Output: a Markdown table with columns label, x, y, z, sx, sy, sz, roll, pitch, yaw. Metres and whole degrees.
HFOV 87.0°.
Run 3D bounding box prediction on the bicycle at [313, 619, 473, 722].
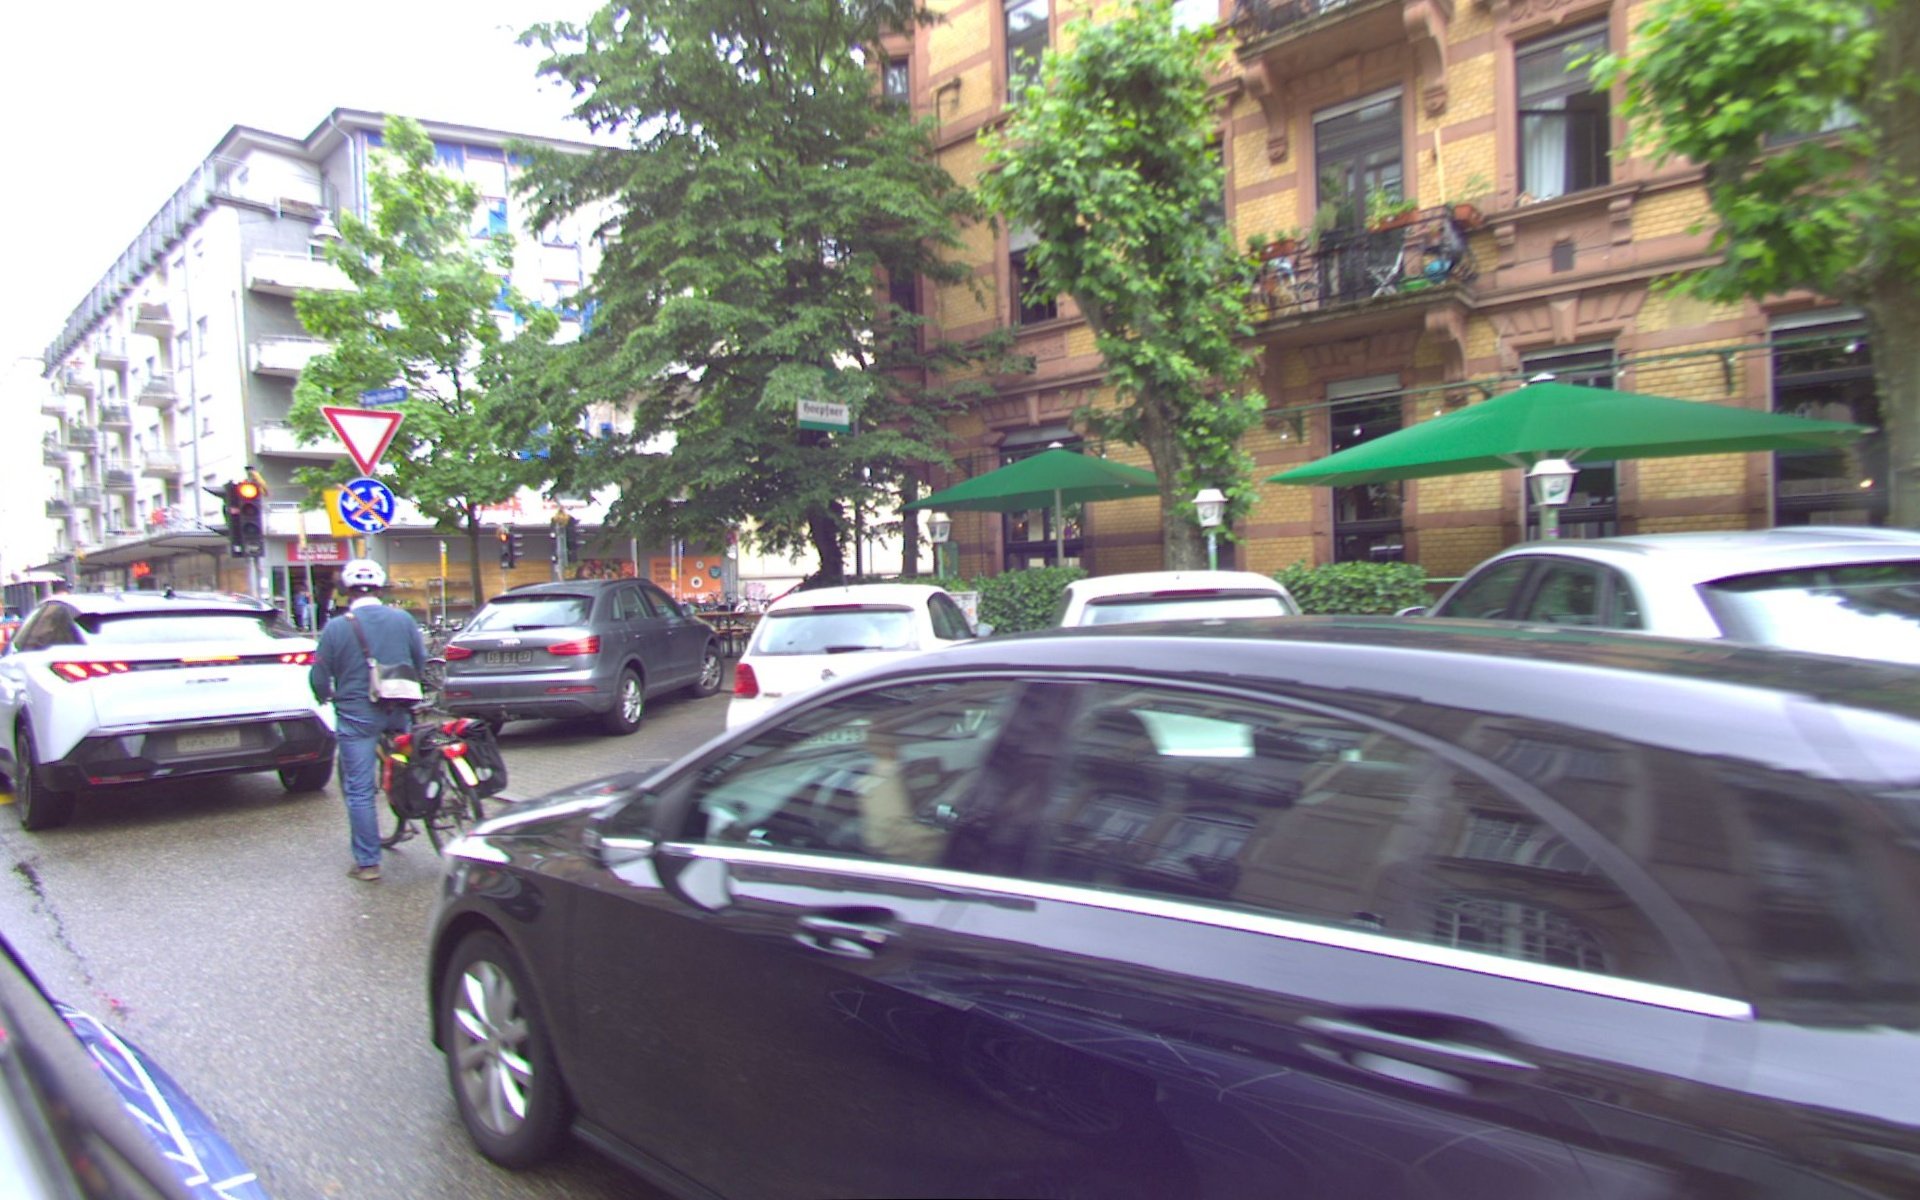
| label | x | y | z | sx | sy | sz | roll | pitch | yaw |
| --- | --- | --- | --- | --- | --- | --- | --- | --- | --- |
| bicycle | -6.747 | 0.840 | 12.063 | 1.665 | 1.152 | 0.585 | -2 | 2 | 13 |

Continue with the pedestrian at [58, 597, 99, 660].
| label | x | y | z | sx | sy | sz | roll | pitch | yaw |
| --- | --- | --- | --- | --- | --- | --- | --- | --- | --- |
| pedestrian | -27.767 | 0.880 | 31.893 | 0.707 | 1.911 | 0.606 | -2 | 2 | -14 |

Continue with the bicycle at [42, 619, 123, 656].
| label | x | y | z | sx | sy | sz | roll | pitch | yaw |
| --- | --- | --- | --- | --- | --- | --- | --- | --- | --- |
| bicycle | -29.508 | 1.258 | 34.059 | 0.658 | 1.041 | 1.879 | -3 | 3 | 26 |

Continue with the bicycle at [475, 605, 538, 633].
| label | x | y | z | sx | sy | sz | roll | pitch | yaw |
| --- | --- | --- | --- | --- | --- | --- | --- | --- | --- |
| bicycle | -15.984 | 0.663 | 35.687 | 1.977 | 0.978 | 0.588 | 0 | 1 | 6 |

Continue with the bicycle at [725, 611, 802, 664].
| label | x | y | z | sx | sy | sz | roll | pitch | yaw |
| --- | --- | --- | --- | --- | --- | --- | --- | --- | --- |
| bicycle | -3.364 | 0.629 | 17.403 | 0.405 | 0.821 | 1.378 | -2 | 1 | 36 |

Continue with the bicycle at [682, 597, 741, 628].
| label | x | y | z | sx | sy | sz | roll | pitch | yaw |
| --- | --- | --- | --- | --- | --- | --- | --- | --- | --- |
| bicycle | -9.027 | 0.447 | 36.847 | 1.968 | 0.978 | 0.591 | -3 | 3 | -33 |

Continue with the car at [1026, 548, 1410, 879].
| label | x | y | z | sx | sy | sz | roll | pitch | yaw |
| --- | --- | --- | --- | --- | --- | --- | --- | --- | --- |
| car | 1.406 | 0.454 | 6.888 | 1.779 | 1.504 | 4.133 | -1 | 4 | 5 |

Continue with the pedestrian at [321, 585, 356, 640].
| label | x | y | z | sx | sy | sz | roll | pitch | yaw |
| --- | --- | --- | --- | --- | --- | --- | --- | --- | --- |
| pedestrian | -21.721 | 0.419 | 35.392 | 0.682 | 1.777 | 0.867 | -2 | 9 | -14 |

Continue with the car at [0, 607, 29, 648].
| label | x | y | z | sx | sy | sz | roll | pitch | yaw |
| --- | --- | --- | --- | --- | --- | --- | --- | --- | --- |
| car | -44.865 | 1.316 | 46.812 | 3.993 | 1.803 | 1.879 | -2 | 1 | 37 |

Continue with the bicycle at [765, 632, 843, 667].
| label | x | y | z | sx | sy | sz | roll | pitch | yaw |
| --- | --- | --- | --- | --- | --- | --- | --- | --- | --- |
| bicycle | -2.559 | 0.803 | 16.716 | 0.405 | 0.456 | 1.378 | -1 | 2 | 36 |

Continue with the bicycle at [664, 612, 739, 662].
| label | x | y | z | sx | sy | sz | roll | pitch | yaw |
| --- | --- | --- | --- | --- | --- | --- | --- | --- | --- |
| bicycle | -4.744 | 0.665 | 18.659 | 0.405 | 0.821 | 1.378 | -2 | 1 | 36 |

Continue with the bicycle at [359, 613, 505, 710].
| label | x | y | z | sx | sy | sz | roll | pitch | yaw |
| --- | --- | --- | --- | --- | --- | --- | --- | --- | --- |
| bicycle | -6.792 | 0.789 | 13.002 | 1.860 | 1.194 | 0.397 | -1 | 2 | 16 |

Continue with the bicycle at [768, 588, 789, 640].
| label | x | y | z | sx | sy | sz | roll | pitch | yaw |
| --- | --- | --- | --- | --- | --- | --- | --- | --- | --- |
| bicycle | -4.741 | 0.378 | 26.466 | 0.467 | 1.285 | 1.869 | -2 | -1 | -9 |

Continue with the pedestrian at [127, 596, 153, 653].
| label | x | y | z | sx | sy | sz | roll | pitch | yaw |
| --- | --- | --- | --- | --- | --- | --- | --- | --- | --- |
| pedestrian | -27.767 | 0.817 | 34.269 | 0.595 | 1.862 | 0.770 | -3 | 1 | -41 |

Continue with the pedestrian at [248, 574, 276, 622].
| label | x | y | z | sx | sy | sz | roll | pitch | yaw |
| --- | --- | --- | --- | --- | --- | --- | --- | --- | --- |
| pedestrian | -23.706 | -0.071 | 34.382 | 0.536 | 1.596 | 0.696 | -2 | 2 | -14 |

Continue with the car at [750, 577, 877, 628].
| label | x | y | z | sx | sy | sz | roll | pitch | yaw |
| --- | --- | --- | --- | --- | --- | --- | --- | --- | --- |
| car | -5.400 | 0.105 | 37.140 | 4.449 | 1.693 | 1.976 | -2 | 1 | 36 |

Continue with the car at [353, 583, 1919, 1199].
| label | x | y | z | sx | sy | sz | roll | pitch | yaw |
| --- | --- | --- | --- | --- | --- | --- | --- | --- | --- |
| car | 0.278 | 0.739 | 2.460 | 4.135 | 1.505 | 1.777 | 1 | 1 | 40 |

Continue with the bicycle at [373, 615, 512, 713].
| label | x | y | z | sx | sy | sz | roll | pitch | yaw |
| --- | --- | --- | --- | --- | --- | --- | --- | --- | --- |
| bicycle | -6.386 | 0.792 | 12.492 | 1.667 | 1.152 | 0.397 | -1 | 2 | 16 |

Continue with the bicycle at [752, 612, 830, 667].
| label | x | y | z | sx | sy | sz | roll | pitch | yaw |
| --- | --- | --- | --- | --- | --- | --- | --- | --- | --- |
| bicycle | -2.800 | 0.642 | 16.898 | 0.405 | 0.821 | 1.378 | -1 | 2 | 36 |

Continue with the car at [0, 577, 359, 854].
| label | x | y | z | sx | sy | sz | roll | pitch | yaw |
| --- | --- | --- | --- | --- | --- | --- | --- | --- | --- |
| car | -6.979 | 0.747 | 8.462 | 5.004 | 1.672 | 1.839 | -1 | -1 | 40 |

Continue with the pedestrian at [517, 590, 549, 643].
| label | x | y | z | sx | sy | sz | roll | pitch | yaw |
| --- | --- | --- | --- | --- | --- | --- | --- | --- | --- |
| pedestrian | -13.669 | 0.524 | 32.425 | 0.786 | 1.627 | 0.606 | -2 | 2 | -14 |

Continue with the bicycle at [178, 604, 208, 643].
| label | x | y | z | sx | sy | sz | roll | pitch | yaw |
| --- | --- | --- | --- | --- | --- | --- | --- | --- | --- |
| bicycle | -28.464 | 0.867 | 37.541 | 2.023 | 1.383 | 0.444 | -2 | 3 | 43 |

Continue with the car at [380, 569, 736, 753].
| label | x | y | z | sx | sy | sz | roll | pitch | yaw |
| --- | --- | --- | --- | --- | --- | --- | --- | --- | --- |
| car | -4.173 | 0.498 | 11.459 | 1.974 | 1.575 | 4.453 | -1 | 3 | 4 |

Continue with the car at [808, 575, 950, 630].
| label | x | y | z | sx | sy | sz | roll | pitch | yaw |
| --- | --- | --- | --- | --- | --- | --- | --- | --- | --- |
| car | -2.706 | 0.079 | 33.882 | 4.311 | 1.652 | 1.849 | -2 | 0 | -24 |

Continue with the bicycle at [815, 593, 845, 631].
| label | x | y | z | sx | sy | sz | roll | pitch | yaw |
| --- | --- | --- | --- | --- | --- | --- | --- | --- | --- |
| bicycle | -3.497 | 0.304 | 27.122 | 0.580 | 0.968 | 1.728 | -2 | 1 | -14 |

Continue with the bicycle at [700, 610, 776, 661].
| label | x | y | z | sx | sy | sz | roll | pitch | yaw |
| --- | --- | --- | --- | --- | --- | --- | --- | --- | --- |
| bicycle | -3.936 | 0.621 | 18.021 | 0.405 | 0.821 | 1.378 | -2 | 1 | 36 |

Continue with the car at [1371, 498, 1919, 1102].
| label | x | y | z | sx | sy | sz | roll | pitch | yaw |
| --- | --- | --- | --- | --- | --- | --- | --- | --- | --- |
| car | 3.557 | 0.399 | 4.757 | 1.778 | 1.674 | 4.134 | -2 | 3 | 4 |

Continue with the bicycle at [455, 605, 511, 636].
| label | x | y | z | sx | sy | sz | roll | pitch | yaw |
| --- | --- | --- | --- | --- | --- | --- | --- | --- | --- |
| bicycle | -16.456 | 0.694 | 34.951 | 1.671 | 0.978 | 0.567 | -2 | 1 | 6 |

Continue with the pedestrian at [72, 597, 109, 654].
| label | x | y | z | sx | sy | sz | roll | pitch | yaw |
| --- | --- | --- | --- | --- | --- | --- | --- | --- | --- |
| pedestrian | -29.446 | 0.851 | 34.277 | 0.850 | 1.862 | 0.770 | -3 | 1 | -41 |

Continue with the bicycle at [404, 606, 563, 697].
| label | x | y | z | sx | sy | sz | roll | pitch | yaw |
| --- | --- | --- | --- | --- | --- | --- | --- | --- | --- |
| bicycle | -6.503 | 0.699 | 13.827 | 1.914 | 1.152 | 0.773 | -1 | 1 | 16 |

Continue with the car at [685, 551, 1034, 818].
| label | x | y | z | sx | sy | sz | roll | pitch | yaw |
| --- | --- | --- | --- | --- | --- | --- | --- | --- | --- |
| car | -0.482 | 0.444 | 8.727 | 1.976 | 1.574 | 4.717 | -4 | 3 | 6 |

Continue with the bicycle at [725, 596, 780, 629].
| label | x | y | z | sx | sy | sz | roll | pitch | yaw |
| --- | --- | --- | --- | --- | --- | --- | --- | --- | --- |
| bicycle | -7.162 | 0.419 | 34.971 | 0.588 | 0.978 | 1.978 | 0 | 3 | 35 |

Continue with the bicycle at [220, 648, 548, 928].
| label | x | y | z | sx | sy | sz | roll | pitch | yaw |
| --- | --- | --- | --- | --- | --- | --- | --- | --- | --- |
| bicycle | -3.184 | 0.881 | 5.472 | 2.267 | 1.189 | 0.762 | -3 | -1 | 39 |

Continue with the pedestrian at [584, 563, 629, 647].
| label | x | y | z | sx | sy | sz | roll | pitch | yaw |
| --- | --- | --- | --- | --- | --- | --- | --- | --- | --- |
| pedestrian | -8.860 | 0.119 | 25.409 | 0.929 | 2.028 | 0.866 | -2 | 1 | -14 |
